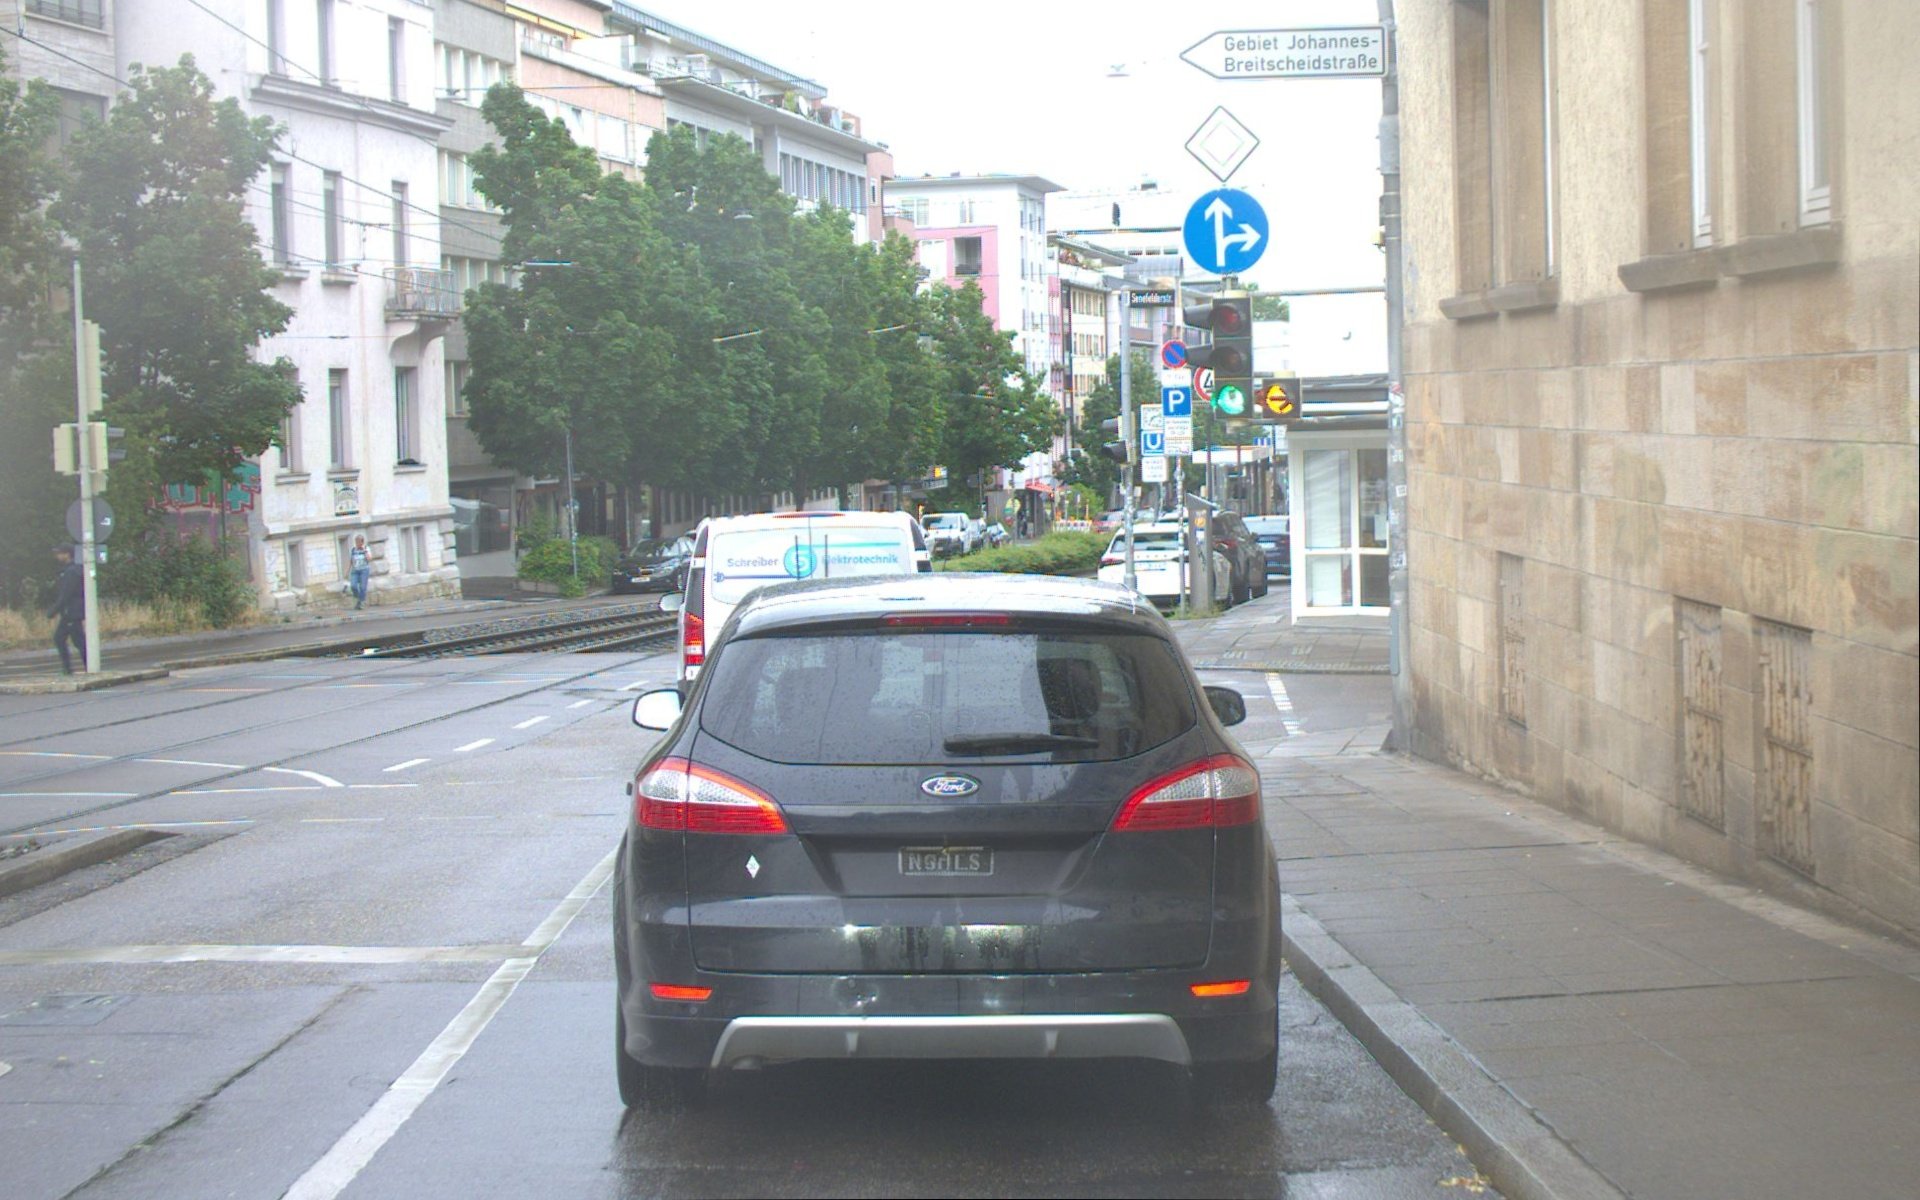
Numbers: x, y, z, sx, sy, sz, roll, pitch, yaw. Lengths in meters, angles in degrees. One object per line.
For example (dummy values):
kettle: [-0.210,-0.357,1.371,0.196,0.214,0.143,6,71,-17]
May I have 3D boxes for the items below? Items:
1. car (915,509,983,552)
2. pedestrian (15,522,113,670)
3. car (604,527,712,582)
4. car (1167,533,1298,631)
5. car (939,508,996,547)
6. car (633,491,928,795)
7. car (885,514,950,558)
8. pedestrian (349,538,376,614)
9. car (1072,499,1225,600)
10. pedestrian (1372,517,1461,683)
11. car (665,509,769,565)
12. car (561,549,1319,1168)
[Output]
car: [-0.411,-2.738,136.953,1.856,1.631,4.933,-1,0,10]
pedestrian: [-11.266,-0.052,43.262,0.930,1.823,0.959,1,0,2]
car: [-7.998,-1.191,91.550,1.694,1.373,4.719,-1,0,10]
car: [4.848,-0.328,60.753,1.846,1.627,4.584,-1,0,10]
car: [0.328,-3.018,143.702,1.695,1.568,4.044,-1,0,10]
car: [-1.279,0.280,25.707,1.988,2.053,4.645,0,0,-1]
car: [-1.561,-2.366,127.678,1.668,1.553,4.044,-1,0,10]
pedestrian: [-12.935,-0.519,74.414,0.467,1.646,0.582,1,0,-2]
car: [3.008,-0.783,53.958,1.802,1.450,4.584,-2,0,10]
pedestrian: [4.438,-0.003,33.475,0.688,1.566,0.763,-2,0,-2]
car: [-6.887,-1.770,97.998,1.856,1.543,4.719,-1,0,10]
car: [-0.073,0.622,10.390,1.842,1.502,4.000,0,0,-1]
